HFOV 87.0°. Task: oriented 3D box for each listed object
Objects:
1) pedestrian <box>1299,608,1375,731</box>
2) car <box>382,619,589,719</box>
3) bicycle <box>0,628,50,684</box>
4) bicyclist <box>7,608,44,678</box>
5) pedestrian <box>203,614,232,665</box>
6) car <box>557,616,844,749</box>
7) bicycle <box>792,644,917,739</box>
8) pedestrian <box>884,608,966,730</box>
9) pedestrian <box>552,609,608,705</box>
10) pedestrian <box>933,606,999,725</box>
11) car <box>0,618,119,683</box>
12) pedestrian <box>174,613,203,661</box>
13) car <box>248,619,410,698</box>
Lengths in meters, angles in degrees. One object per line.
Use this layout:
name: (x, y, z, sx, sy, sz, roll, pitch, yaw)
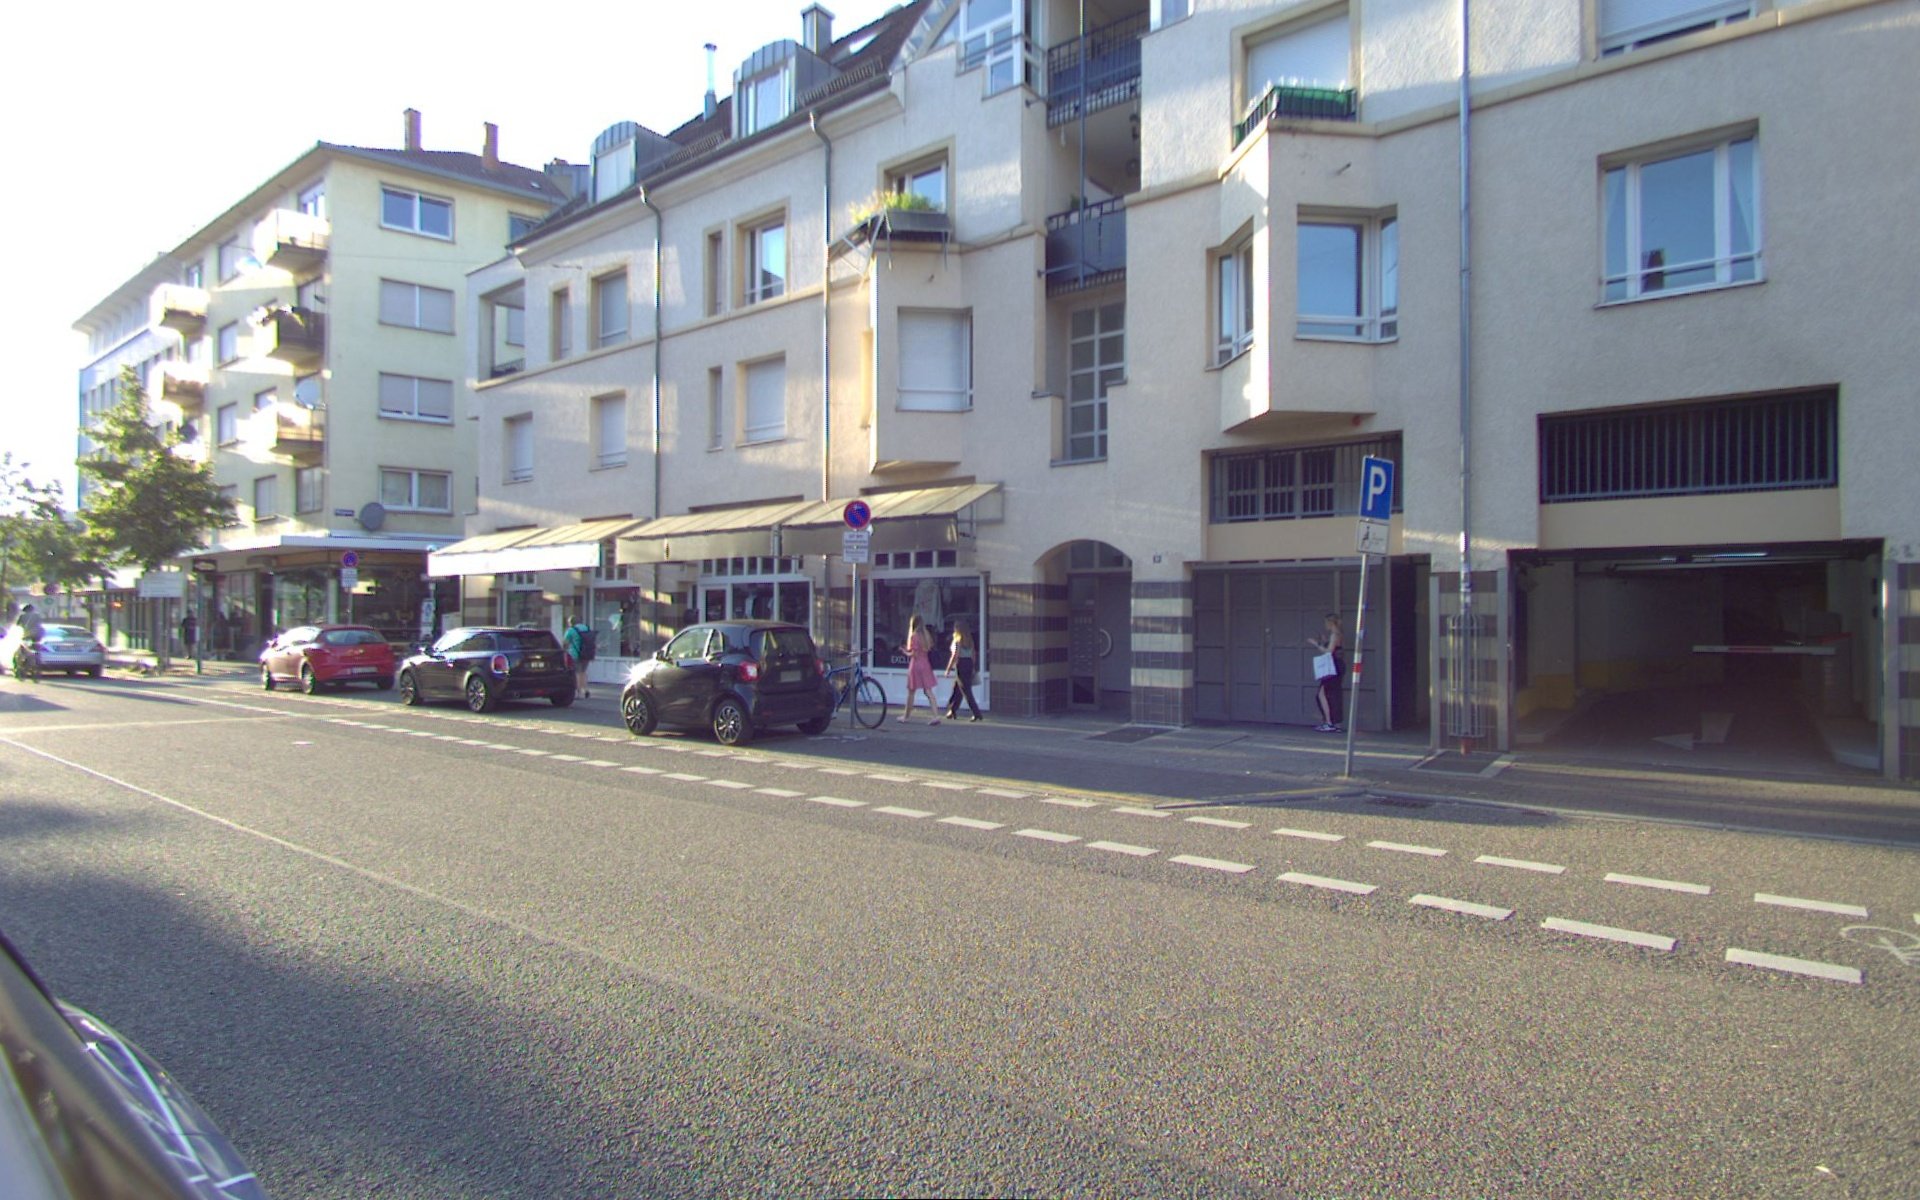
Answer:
pedestrian: (4.978, 0.907, 13.382, 0.765, 1.584, 0.535, 1, -2, -12)
car: (-8.521, 1.145, 18.085, 3.780, 1.592, 1.773, -1, -2, 37)
bicycle: (-22.016, 1.296, 23.766, 2.129, 1.252, 0.656, -1, -4, 42)
bicyclist: (-21.770, 0.999, 23.575, 0.802, 1.593, 0.541, -1, -2, 41)
pedestrian: (-27.069, 1.427, 36.899, 0.666, 1.805, 0.711, -1, -1, 39)
car: (-3.668, 1.031, 14.069, 3.959, 1.592, 1.773, -1, -2, 36)
bicycle: (-1.513, 1.243, 14.249, 1.976, 1.215, 0.552, -1, -2, 41)
pedestrian: (-0.514, 0.978, 14.772, 1.039, 1.713, 0.624, -1, -2, 38)
pedestrian: (-7.134, 1.046, 19.019, 0.737, 1.747, 0.711, -1, -1, 38)
pedestrian: (0.090, 0.959, 15.117, 0.830, 1.713, 0.554, -1, -2, 38)
car: (-24.855, 1.337, 27.613, 4.398, 1.617, 1.975, -1, -3, 38)
pedestrian: (-28.929, 1.375, 37.948, 0.666, 1.805, 0.711, -1, -1, 39)
car: (-13.952, 1.228, 22.327, 3.780, 1.592, 1.773, -1, -2, 37)
